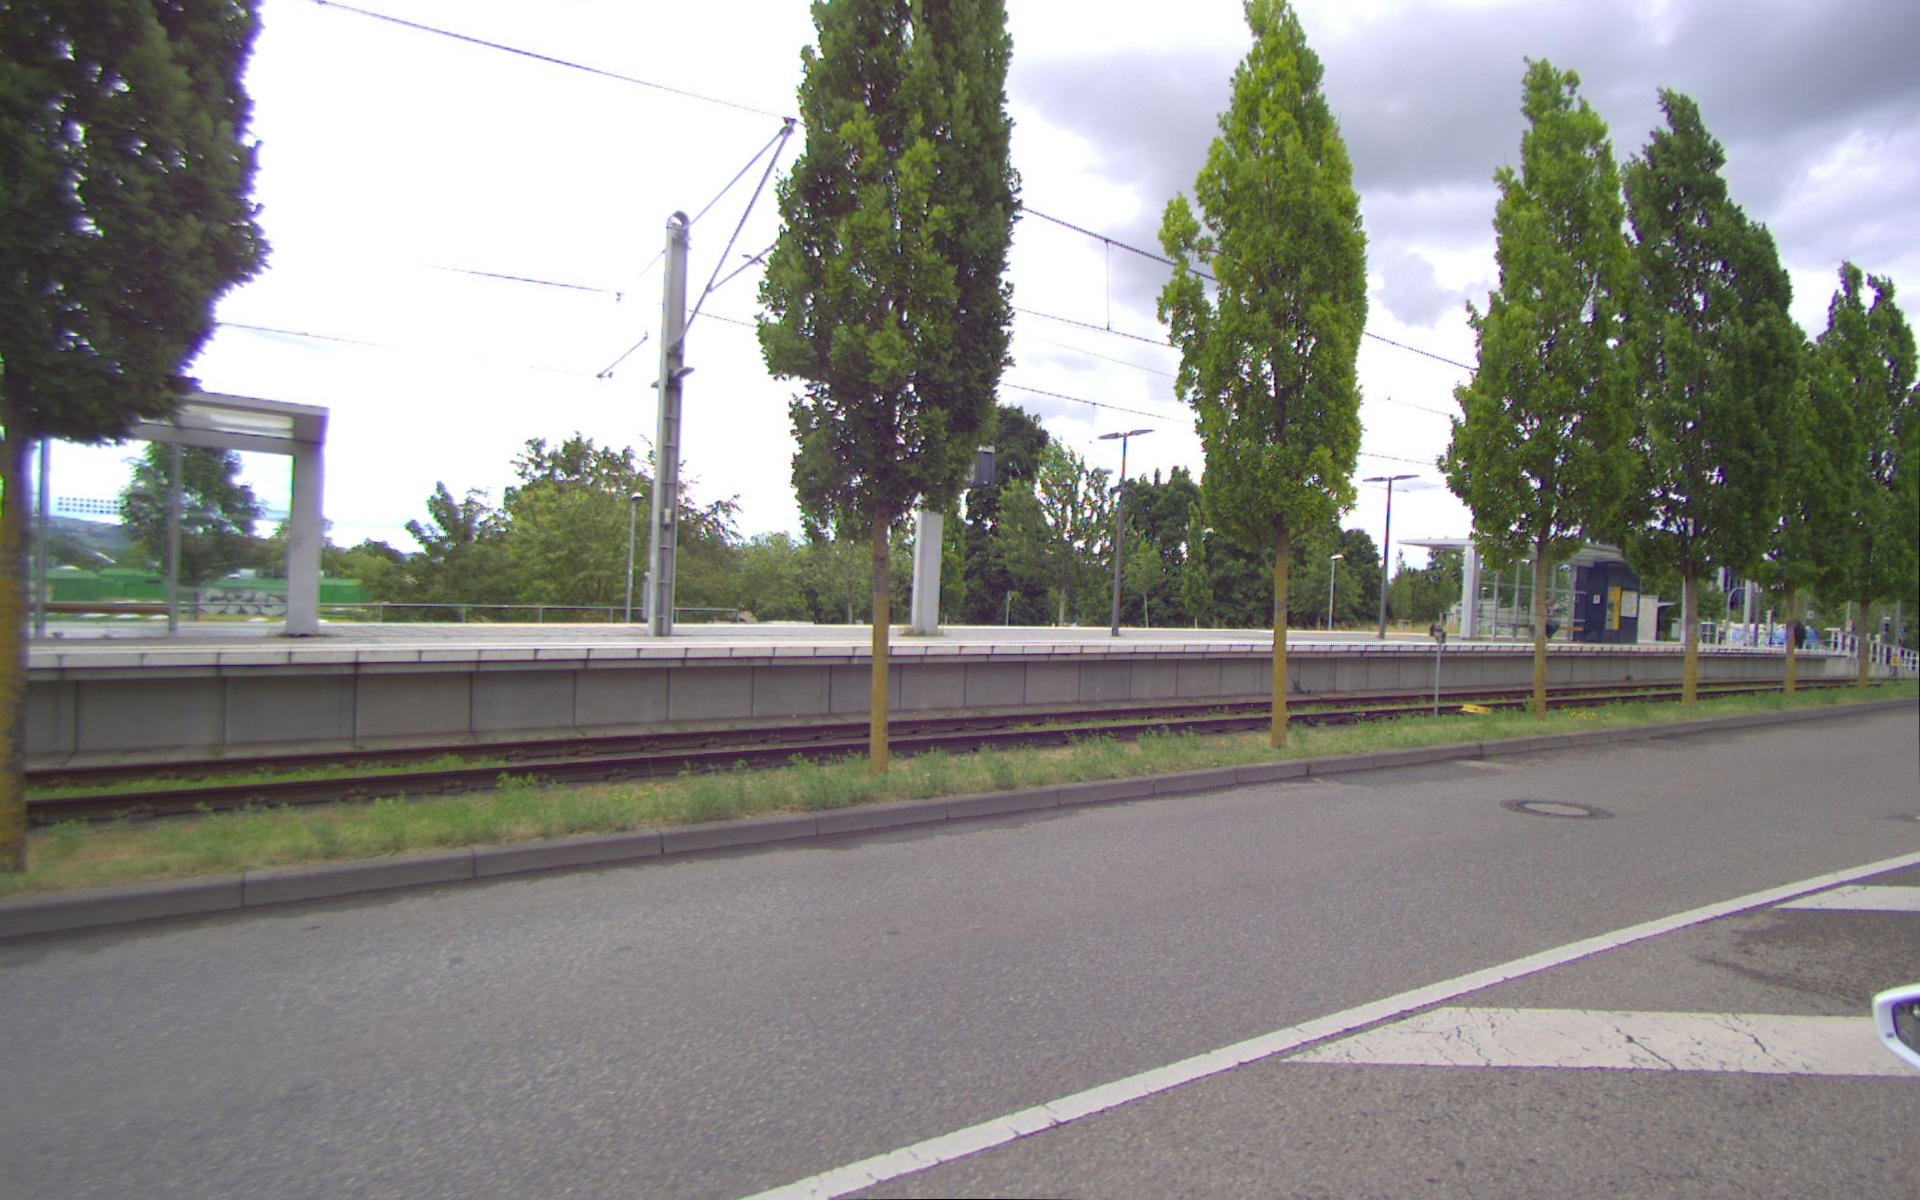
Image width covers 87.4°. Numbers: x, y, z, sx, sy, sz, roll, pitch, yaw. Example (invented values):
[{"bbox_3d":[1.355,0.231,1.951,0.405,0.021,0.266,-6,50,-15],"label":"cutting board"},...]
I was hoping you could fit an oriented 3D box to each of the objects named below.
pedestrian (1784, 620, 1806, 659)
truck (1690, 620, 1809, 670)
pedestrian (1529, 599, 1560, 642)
[{"bbox_3d":[39.979,1.900,48.086,0.786,1.852,0.568,3,-1,-35],"label":"pedestrian"},{"bbox_3d":[63.742,3.536,81.281,2.654,3.647,7.222,0,0,-23],"label":"truck"},{"bbox_3d":[17.771,0.619,30.553,0.653,1.286,0.605,-1,0,-37],"label":"pedestrian"}]
